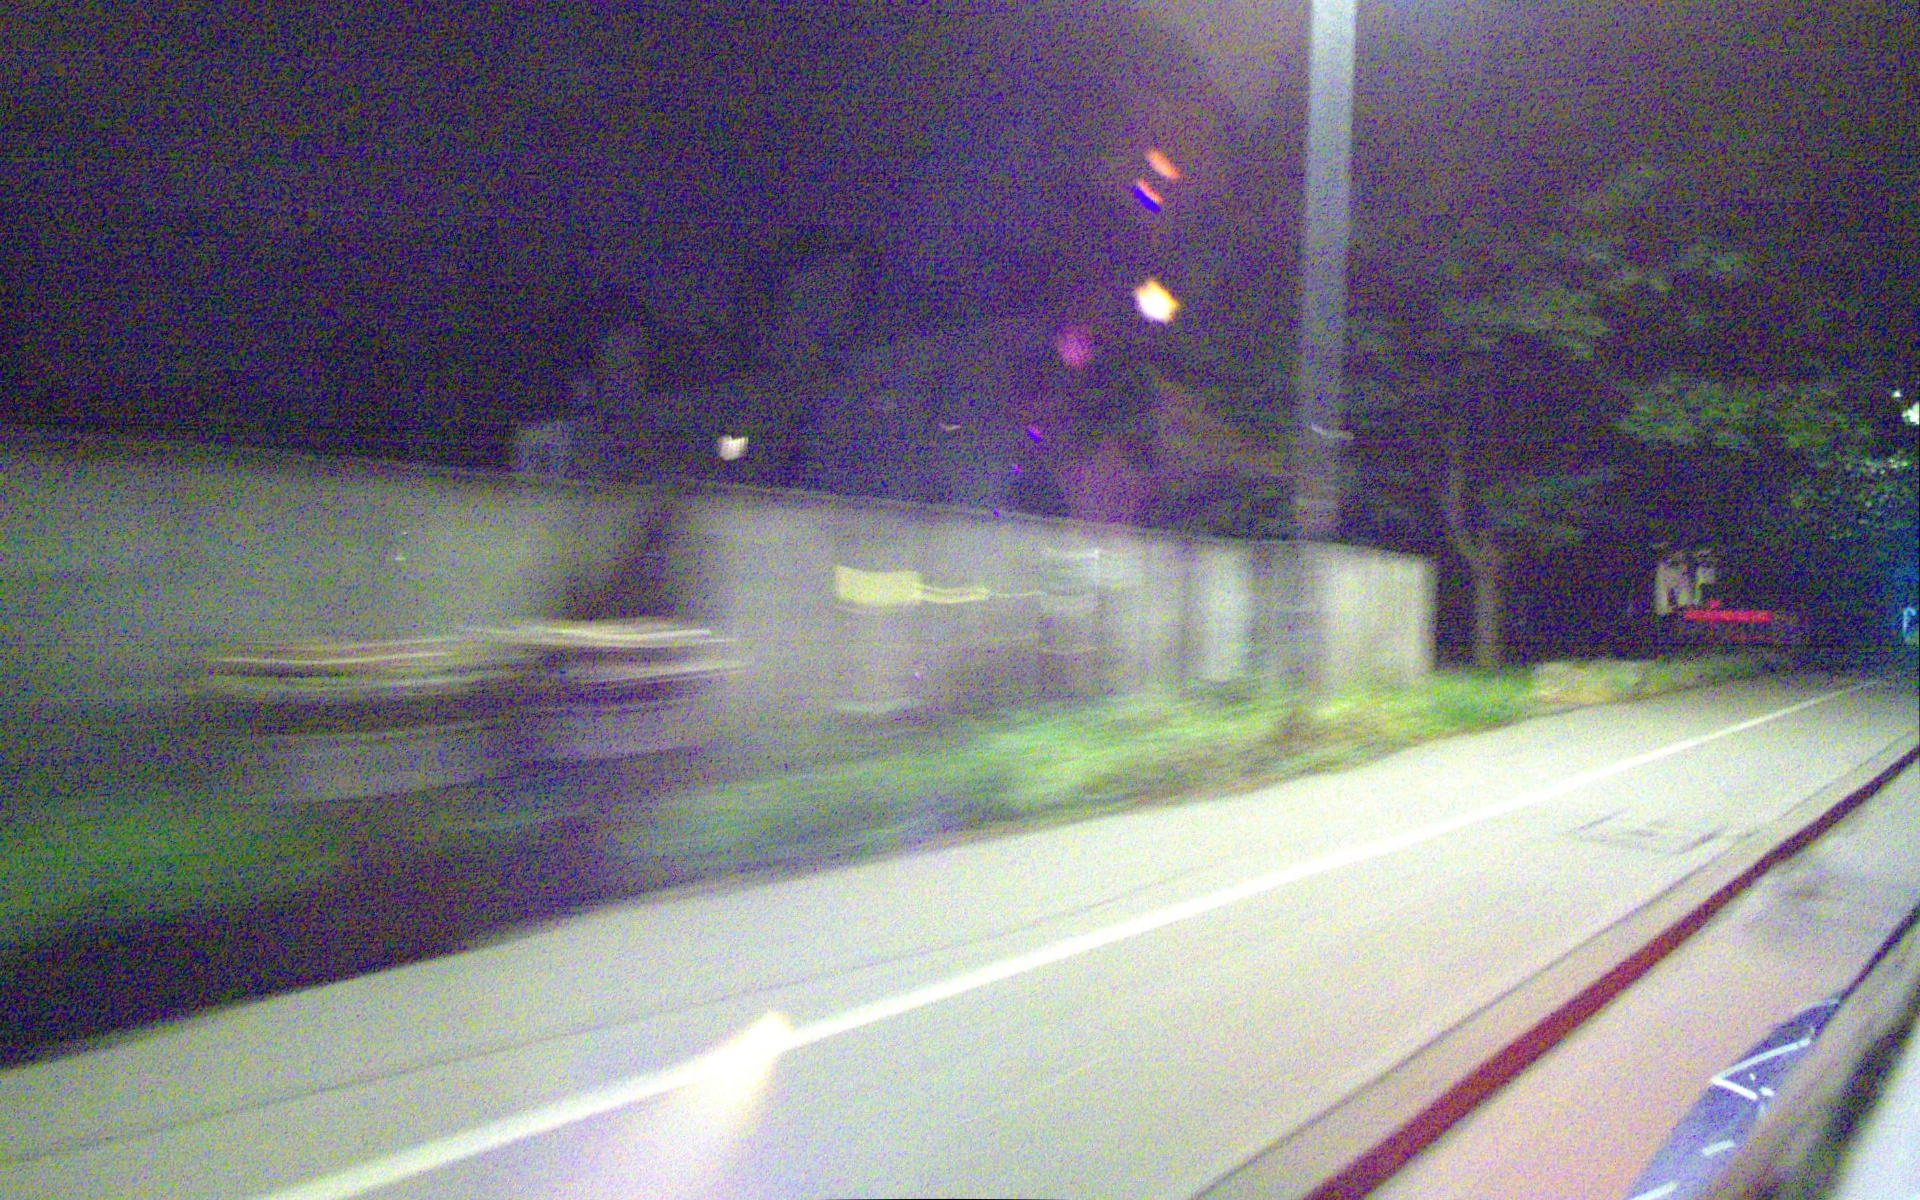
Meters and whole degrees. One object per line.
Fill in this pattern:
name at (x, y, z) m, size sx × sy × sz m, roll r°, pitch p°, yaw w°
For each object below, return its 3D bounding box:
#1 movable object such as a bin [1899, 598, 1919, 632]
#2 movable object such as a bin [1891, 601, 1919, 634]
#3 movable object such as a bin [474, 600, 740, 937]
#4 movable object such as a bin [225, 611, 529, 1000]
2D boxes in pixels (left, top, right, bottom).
movable object such as a bin at (34.877, 0.556, 36.947) m, size 0.706 × 1.216 × 0.727 m, roll 1°, pitch 1°, yaw -34°
movable object such as a bin at (34.179, 0.627, 36.465) m, size 0.876 × 1.135 × 0.726 m, roll 0°, pitch 1°, yaw -34°
movable object such as a bin at (-1.484, 0.606, 4.228) m, size 0.813 × 1.196 × 0.835 m, roll 0°, pitch 1°, yaw -38°
movable object such as a bin at (-2.101, 0.621, 3.624) m, size 0.825 × 1.133 × 0.859 m, roll 0°, pitch 1°, yaw -38°
